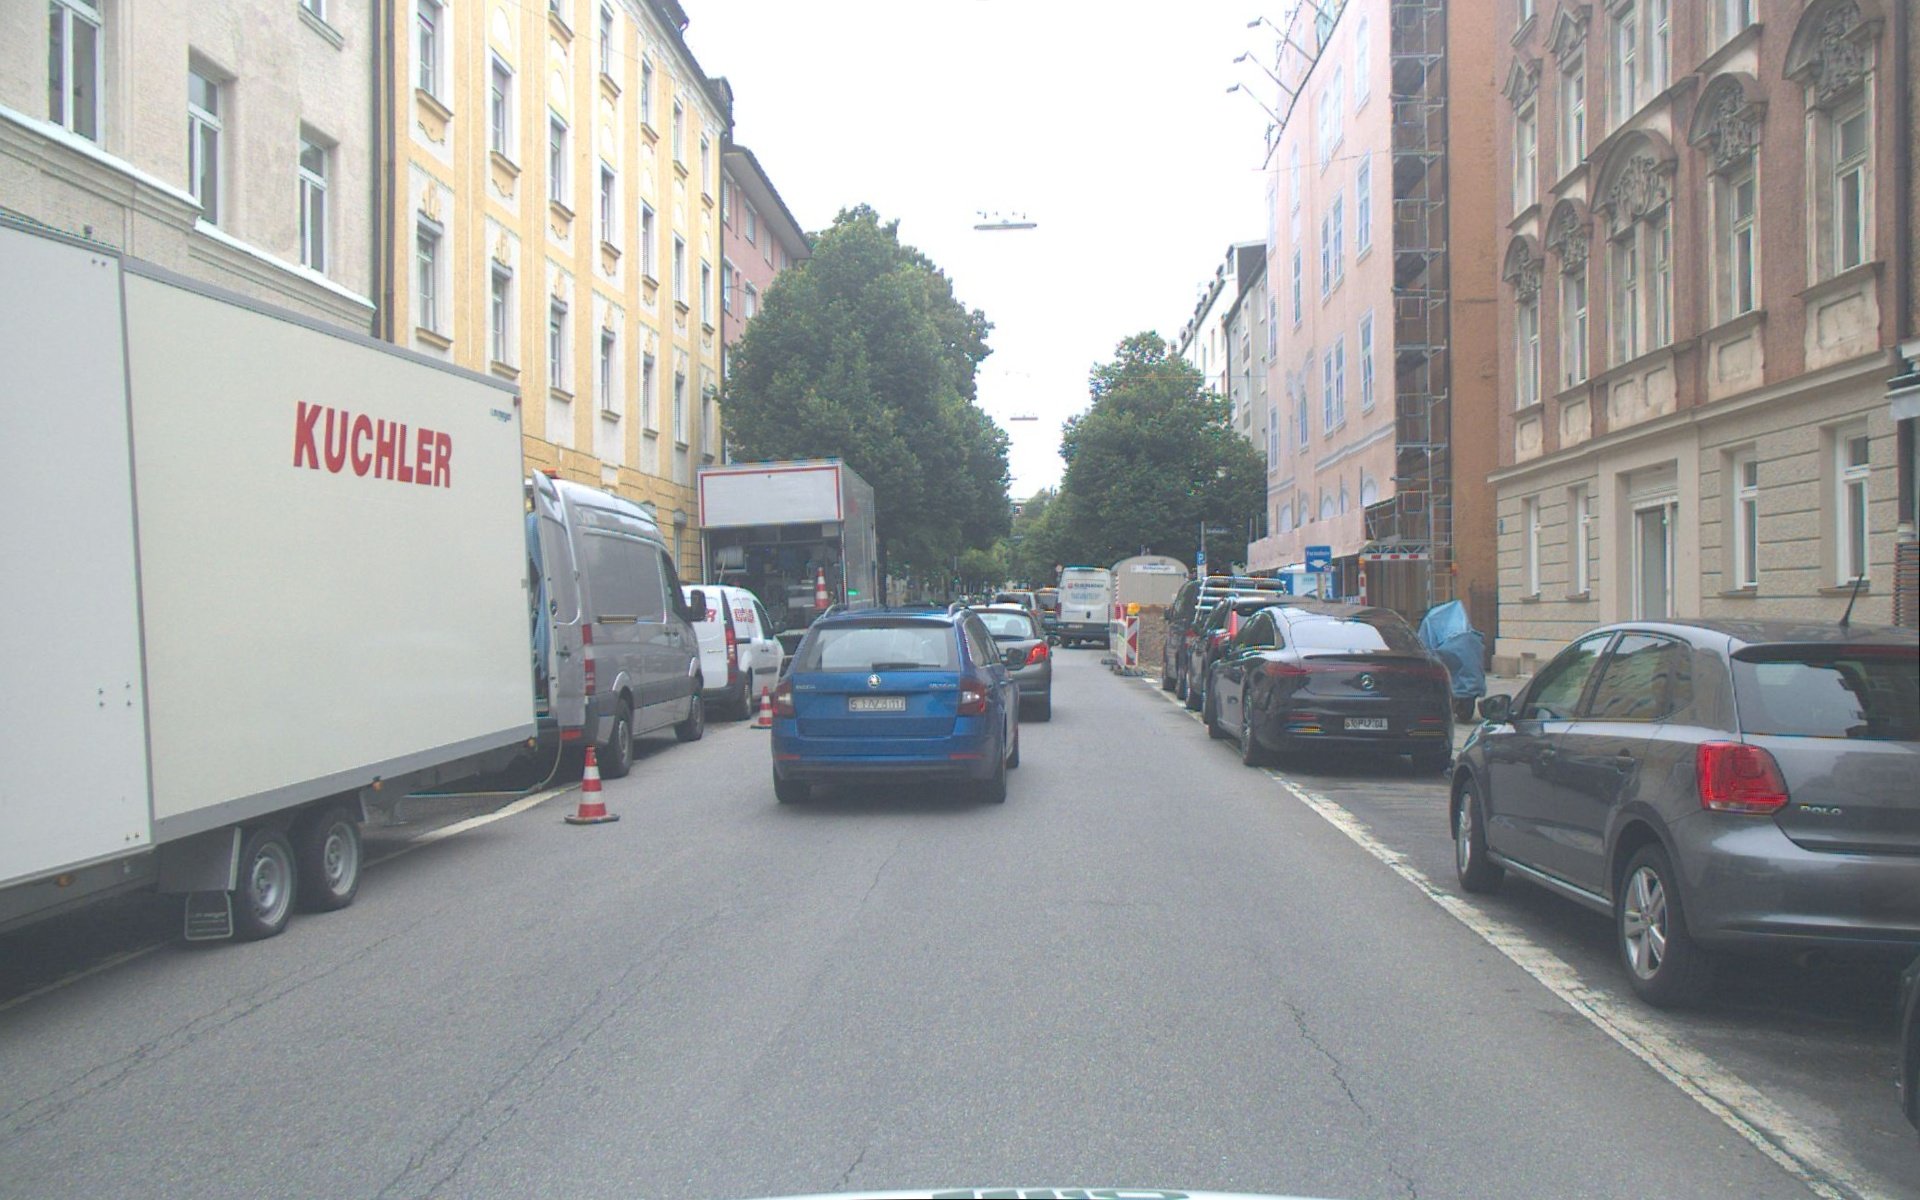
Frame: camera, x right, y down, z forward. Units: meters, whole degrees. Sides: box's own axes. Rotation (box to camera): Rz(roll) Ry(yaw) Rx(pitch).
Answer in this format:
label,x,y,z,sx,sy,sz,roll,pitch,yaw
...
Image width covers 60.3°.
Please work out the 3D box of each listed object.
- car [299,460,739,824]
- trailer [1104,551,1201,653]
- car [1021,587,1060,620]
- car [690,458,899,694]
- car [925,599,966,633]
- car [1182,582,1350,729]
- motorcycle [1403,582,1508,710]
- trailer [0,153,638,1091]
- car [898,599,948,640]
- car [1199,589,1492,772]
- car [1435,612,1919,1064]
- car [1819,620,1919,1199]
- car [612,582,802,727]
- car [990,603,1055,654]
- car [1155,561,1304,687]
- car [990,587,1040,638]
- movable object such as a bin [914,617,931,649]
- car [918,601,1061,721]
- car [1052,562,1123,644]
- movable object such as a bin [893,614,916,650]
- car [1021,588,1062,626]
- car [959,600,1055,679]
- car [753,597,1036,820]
label,x,y,z,sx,sy,sz,roll,pitch,yaw
car,-3.857,0.326,16.166,2.013,2.632,6.878,-5,0,2
trailer,5.805,0.079,50.670,2.450,2.890,6.903,1,-1,3
car,4.287,0.170,88.202,1.966,1.682,4.349,1,0,3
car,-2.920,-0.380,31.919,2.754,3.884,8.725,-1,0,2
car,-0.623,0.716,75.402,1.775,1.504,4.000,0,0,1
car,4.008,0.695,22.308,1.658,1.706,4.409,2,0,4
motorcycle,6.206,0.558,20.834,0.853,1.531,1.998,0,0,4
trailer,-4.184,0.083,8.672,2.745,3.020,7.604,-4,0,5
car,-1.416,0.739,64.689,1.775,1.504,4.000,0,0,1
car,3.738,0.693,17.139,1.891,1.580,5.638,0,0,2
car,3.437,0.776,7.356,1.539,1.419,4.183,-1,-1,2
car,3.131,0.760,2.079,1.808,1.429,4.790,0,0,3
car,-3.486,0.718,23.580,1.726,1.810,4.328,-2,0,4
car,1.841,0.808,49.240,1.829,1.371,4.348,1,0,1
car,4.532,0.491,28.525,2.039,1.955,5.142,1,-3,4
car,2.148,0.451,63.763,1.828,1.902,4.349,1,0,3
movable object such as a bin,-1.268,1.102,55.998,0.535,1.038,0.636,-2,0,-1
car,0.469,0.764,22.227,1.704,1.446,3.665,-1,0,4
car,4.523,0.131,57.825,2.067,2.710,5.504,1,-1,8
movable object such as a bin,-1.876,1.087,55.961,0.697,1.168,0.636,-2,0,-1
car,3.753,0.318,76.513,1.828,1.682,4.349,1,0,3
car,0.978,0.763,34.159,1.829,1.479,4.348,1,0,2
car,-0.352,0.747,13.346,1.751,1.486,4.317,-1,0,5
